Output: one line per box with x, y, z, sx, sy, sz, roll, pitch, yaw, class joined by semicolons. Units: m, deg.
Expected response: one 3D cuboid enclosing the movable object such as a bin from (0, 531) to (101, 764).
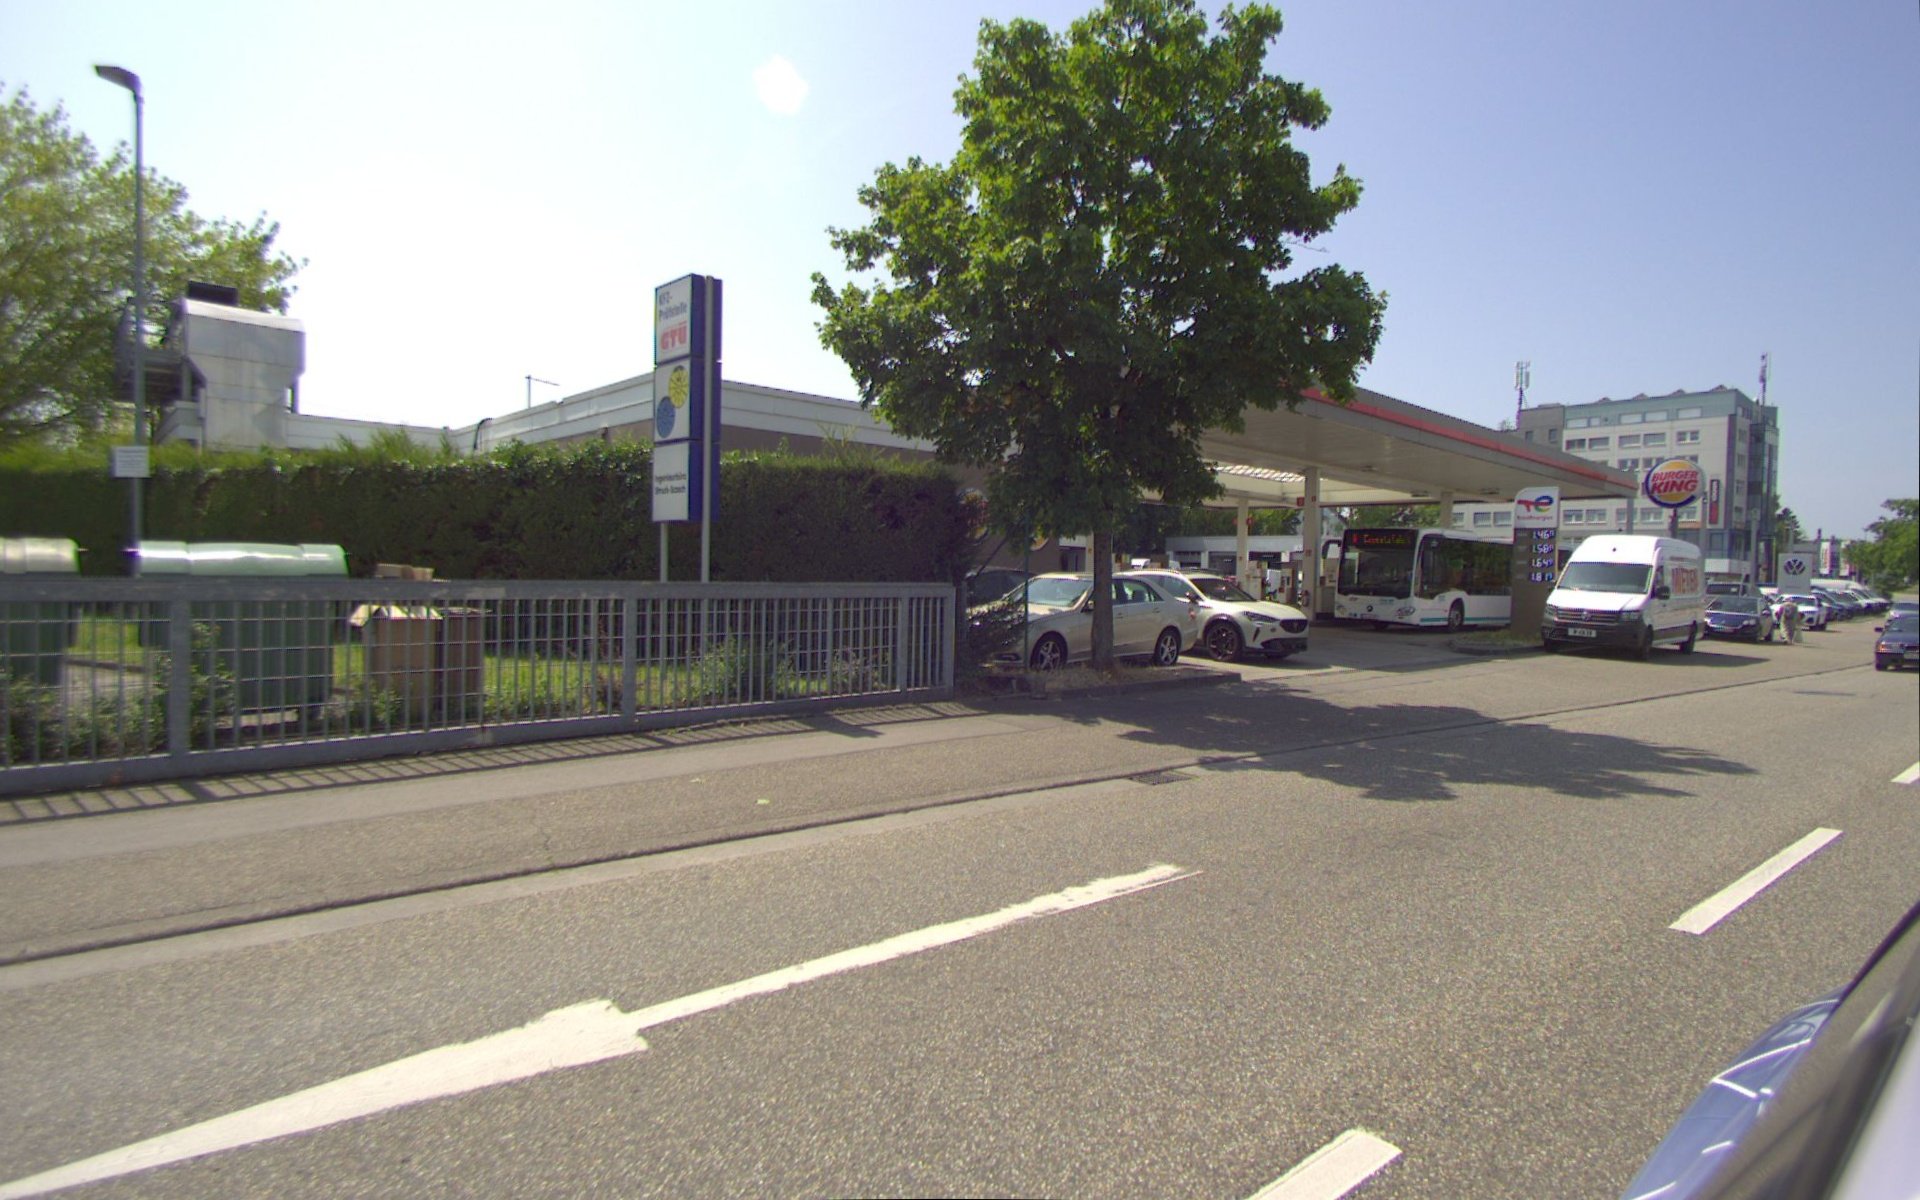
-6.674;0.279;6.708;1.464;1.488;1.132;0;2;-42;movable object such as a bin

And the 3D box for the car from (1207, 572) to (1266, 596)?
18.542;-1.055;67.835;4.134;1.523;1.841;0;2;-42;car

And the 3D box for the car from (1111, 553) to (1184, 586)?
13.799;-2.194;74.279;6.279;2.265;1.996;0;2;-44;car

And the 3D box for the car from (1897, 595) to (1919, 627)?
50.444;0.567;52.906;3.933;1.578;1.864;0;3;-43;car

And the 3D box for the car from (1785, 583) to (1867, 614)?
57.409;-0.131;67.115;3.987;1.808;1.698;4;3;43;car

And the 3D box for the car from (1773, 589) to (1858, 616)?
54.000;0.135;63.909;3.987;1.467;1.698;4;3;43;car

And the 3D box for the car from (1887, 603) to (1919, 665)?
22.764;0.763;23.415;3.692;1.356;1.630;0;1;-42;car

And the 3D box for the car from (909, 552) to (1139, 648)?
1.263;-0.042;18.641;4.181;1.555;1.903;0;2;-44;car

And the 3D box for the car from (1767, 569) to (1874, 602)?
75.545;-1.281;88.997;1.691;2.636;6.897;1;2;-32;car

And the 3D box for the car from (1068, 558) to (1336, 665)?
4.381;0.118;18.983;1.873;1.545;4.635;0;4;-40;car

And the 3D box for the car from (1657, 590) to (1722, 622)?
35.325;0.258;48.989;3.933;1.393;1.805;0;3;-43;car

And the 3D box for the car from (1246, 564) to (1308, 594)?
20.491;-1.358;65.313;4.134;1.853;1.997;0;3;-42;car

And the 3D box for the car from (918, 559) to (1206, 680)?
1.680;0.219;15.428;4.560;1.484;1.796;0;5;-44;car

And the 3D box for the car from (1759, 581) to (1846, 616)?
51.847;-0.107;62.296;3.987;1.941;1.698;4;3;43;car

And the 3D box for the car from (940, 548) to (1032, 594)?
1.251;-1.364;47.521;4.155;2.017;1.715;2;2;7;car

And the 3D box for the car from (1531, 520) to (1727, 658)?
16.096;-0.291;24.131;7.156;2.807;2.181;0;4;-44;car

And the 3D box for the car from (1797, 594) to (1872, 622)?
62.817;0.531;72.712;3.987;1.787;1.698;4;3;43;car

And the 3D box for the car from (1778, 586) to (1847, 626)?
38.598;0.261;45.796;3.932;1.600;1.858;0;4;-43;car

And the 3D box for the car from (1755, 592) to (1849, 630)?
48.344;0.611;58.159;3.987;1.942;1.698;4;3;43;car

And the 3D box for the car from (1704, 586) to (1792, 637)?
25.926;0.337;33.240;3.777;1.466;1.679;0;4;-44;car

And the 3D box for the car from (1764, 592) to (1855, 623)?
50.172;0.403;59.806;3.987;1.597;1.698;4;3;43;car

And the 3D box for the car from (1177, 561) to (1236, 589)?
17.030;-1.710;69.823;4.134;1.780;1.977;0;3;-42;car

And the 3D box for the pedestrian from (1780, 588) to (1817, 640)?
26.888;0.442;32.452;0.807;1.600;0.703;0;4;-43;pedestrian

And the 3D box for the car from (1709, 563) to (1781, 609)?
36.859;-0.647;47.497;3.933;2.038;1.996;0;3;-43;car

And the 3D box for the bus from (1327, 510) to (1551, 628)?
15.028;-0.901;31.341;8.917;3.191;2.755;0;2;-40;bus

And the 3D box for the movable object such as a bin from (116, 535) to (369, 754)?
-5.496;0.274;7.759;1.464;1.488;1.132;0;2;-42;movable object such as a bin

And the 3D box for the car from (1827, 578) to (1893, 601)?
75.175;-0.876;84.566;3.987;1.787;1.698;4;3;43;car

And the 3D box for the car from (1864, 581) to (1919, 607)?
72.450;-0.460;78.052;3.987;1.787;1.698;4;3;43;car
